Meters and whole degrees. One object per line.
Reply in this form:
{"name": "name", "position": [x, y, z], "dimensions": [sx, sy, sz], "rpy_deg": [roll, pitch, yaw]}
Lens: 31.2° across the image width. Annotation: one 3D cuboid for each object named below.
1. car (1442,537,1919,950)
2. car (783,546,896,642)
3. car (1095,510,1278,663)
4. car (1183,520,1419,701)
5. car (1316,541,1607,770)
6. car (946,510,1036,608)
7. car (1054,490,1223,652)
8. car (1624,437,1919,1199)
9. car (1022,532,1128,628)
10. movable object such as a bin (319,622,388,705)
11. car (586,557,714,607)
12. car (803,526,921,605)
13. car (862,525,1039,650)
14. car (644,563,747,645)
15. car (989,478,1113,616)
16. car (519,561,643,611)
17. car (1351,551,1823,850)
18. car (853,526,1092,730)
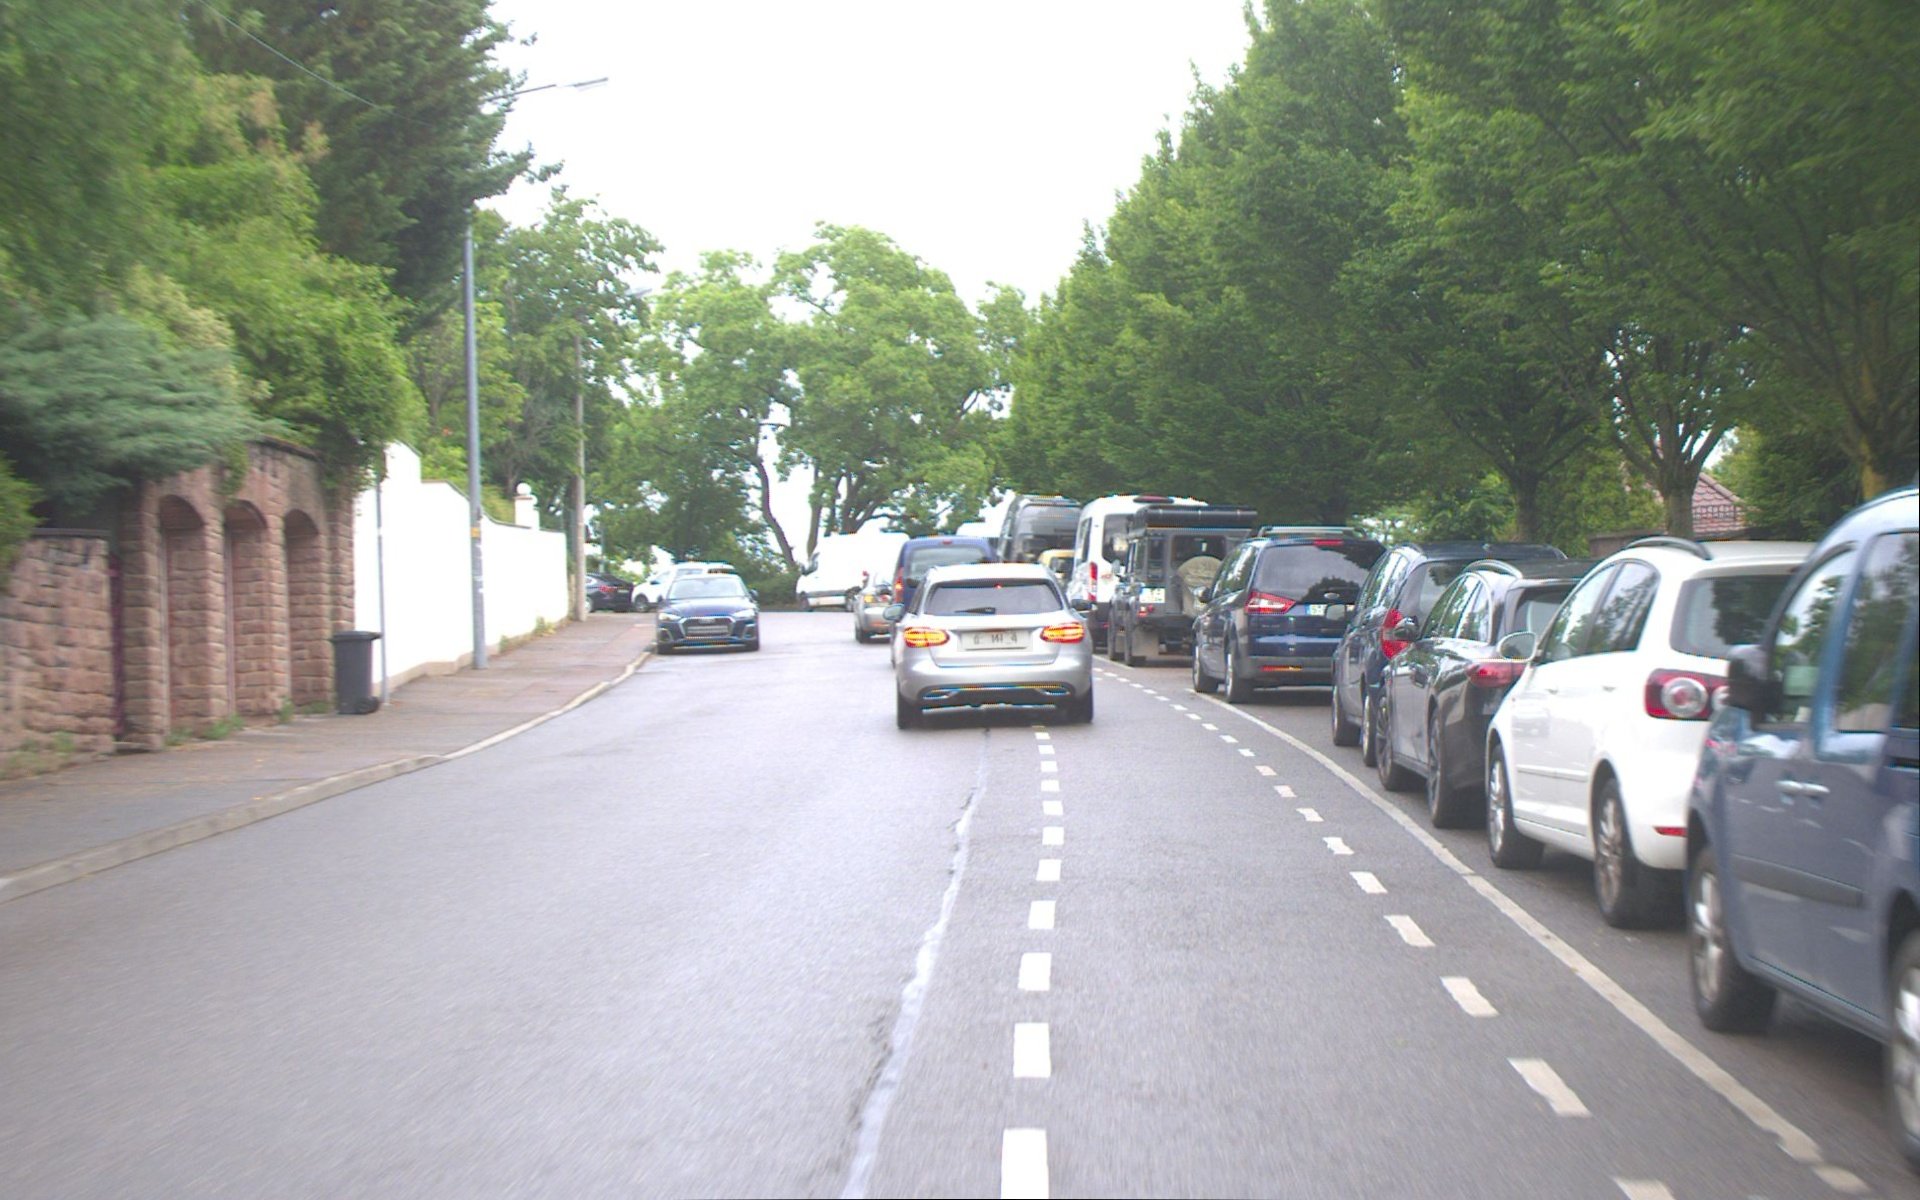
{"name": "car", "position": [3.425, 0.535, 15.517], "dimensions": [1.783, 1.603, 4.224], "rpy_deg": [0, 1, -1]}
{"name": "car", "position": [-2.203, -0.099, 63.960], "dimensions": [1.993, 1.702, 4.000], "rpy_deg": [1, 0, -1]}
{"name": "car", "position": [3.163, -0.202, 49.044], "dimensions": [1.993, 2.045, 5.122], "rpy_deg": [1, 0, -3]}
{"name": "car", "position": [3.507, 0.078, 36.163], "dimensions": [1.780, 1.777, 4.679], "rpy_deg": [0, 1, -3]}
{"name": "car", "position": [3.683, 0.363, 25.825], "dimensions": [1.693, 1.565, 3.922], "rpy_deg": [1, 1, 2]}
{"name": "car", "position": [0.800, -1.095, 91.913], "dimensions": [2.064, 2.486, 4.760], "rpy_deg": [2, 1, -3]}
{"name": "car", "position": [2.890, -0.487, 57.010], "dimensions": [2.173, 2.484, 6.034], "rpy_deg": [2, 1, -2]}
{"name": "car", "position": [3.208, 0.524, 9.831], "dimensions": [1.778, 1.845, 4.425], "rpy_deg": [1, 1, 1]}
{"name": "car", "position": [2.303, -0.424, 69.845], "dimensions": [1.727, 1.779, 4.276], "rpy_deg": [3, 1, -2]}
{"name": "movable object such as a bin", "position": [-6.800, 0.707, 38.573], "dimensions": [0.658, 0.916, 0.677], "rpy_deg": [0, 0, 0]}
{"name": "car", "position": [-11.353, -0.665, 125.666], "dimensions": [4.492, 1.692, 1.966], "rpy_deg": [2, 1, 38]}
{"name": "car", "position": [-3.302, -1.164, 114.902], "dimensions": [2.125, 2.518, 4.497], "rpy_deg": [1, 1, -27]}
{"name": "car", "position": [-0.183, -0.161, 49.653], "dimensions": [1.993, 1.702, 4.001], "rpy_deg": [1, 0, -8]}
{"name": "car", "position": [-4.789, 0.045, 62.642], "dimensions": [1.748, 1.353, 4.426], "rpy_deg": [-2, 1, -4]}
{"name": "car", "position": [1.966, -1.165, 76.157], "dimensions": [2.124, 2.877, 5.770], "rpy_deg": [2, 1, -4]}
{"name": "car", "position": [-14.145, -0.518, 128.245], "dimensions": [4.666, 1.692, 1.965], "rpy_deg": [2, 1, 42]}
{"name": "car", "position": [3.559, 0.499, 20.440], "dimensions": [1.993, 1.532, 4.850], "rpy_deg": [1, 1, 1]}
{"name": "car", "position": [0.105, 0.208, 32.050], "dimensions": [2.025, 1.702, 4.216], "rpy_deg": [-2, 1, 0]}
